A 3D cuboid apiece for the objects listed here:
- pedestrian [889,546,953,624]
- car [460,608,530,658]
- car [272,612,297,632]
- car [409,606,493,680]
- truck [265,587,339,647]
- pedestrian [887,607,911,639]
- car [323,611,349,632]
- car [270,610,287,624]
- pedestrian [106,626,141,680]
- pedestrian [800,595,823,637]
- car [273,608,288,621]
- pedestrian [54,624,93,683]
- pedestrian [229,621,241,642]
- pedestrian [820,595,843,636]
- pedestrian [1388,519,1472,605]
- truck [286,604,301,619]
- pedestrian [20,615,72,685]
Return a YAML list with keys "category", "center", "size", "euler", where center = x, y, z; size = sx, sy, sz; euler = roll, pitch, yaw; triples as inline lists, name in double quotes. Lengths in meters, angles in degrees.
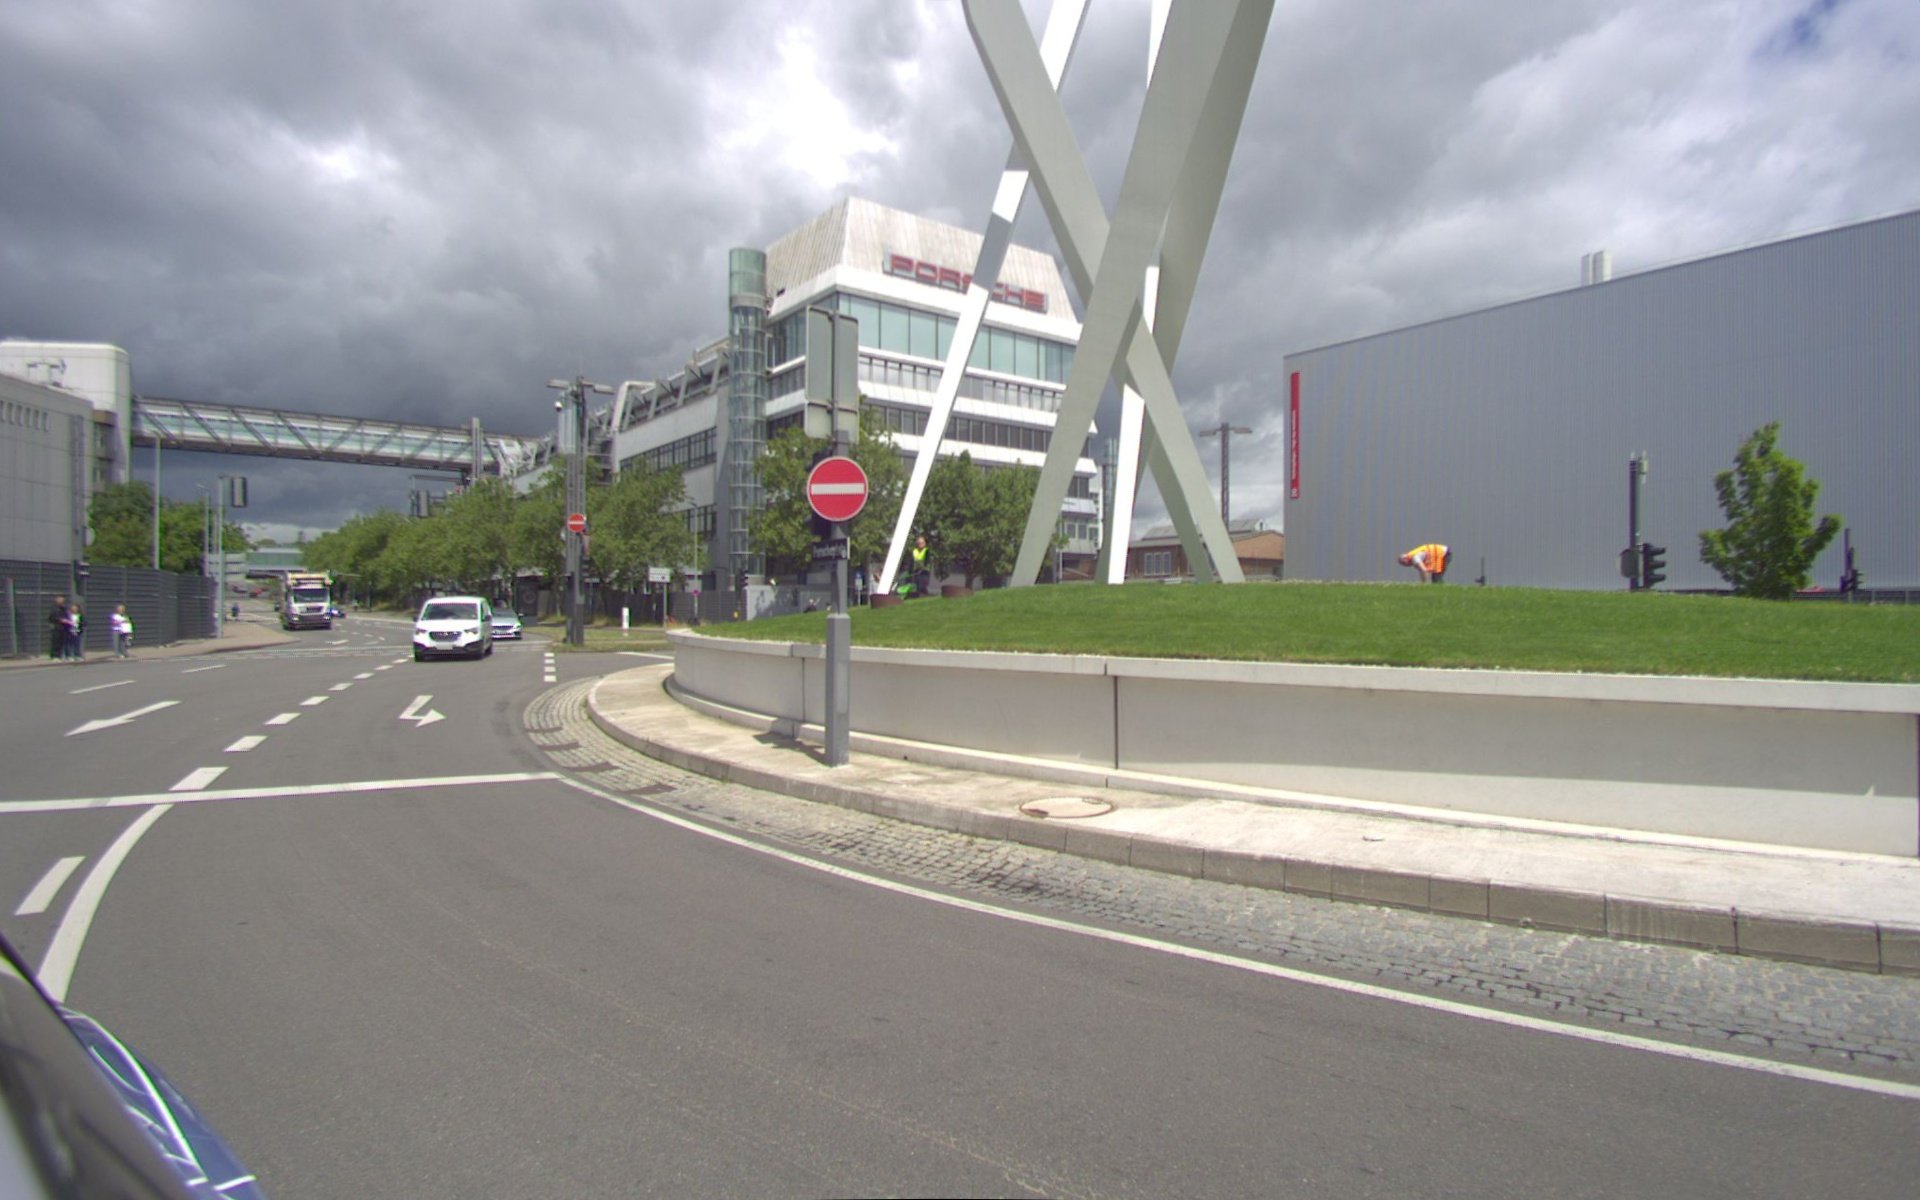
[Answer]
- category: "pedestrian"
  center: [-0.956, -0.344, 24.875]
  size: [0.984, 1.831, 1.270]
  euler: [-1, -2, 36]
- category: "car"
  center: [-20.708, 1.419, 44.972]
  size: [1.843, 1.970, 4.722]
  euler: [-2, 2, -37]
- category: "car"
  center: [-72.409, 2.326, 108.441]
  size: [1.843, 1.970, 4.722]
  euler: [-2, 2, -37]
- category: "car"
  center: [-15.178, 1.232, 30.353]
  size: [1.794, 2.029, 4.405]
  euler: [-1, -1, -21]
- category: "truck"
  center: [-46.060, 1.120, 70.645]
  size: [2.673, 3.915, 10.754]
  euler: [-1, 0, -42]
- category: "pedestrian"
  center: [-3.487, 1.285, 57.804]
  size: [1.034, 1.787, 0.855]
  euler: [-1, 1, 38]
- category: "car"
  center: [-66.076, 2.232, 107.080]
  size: [1.843, 1.970, 4.722]
  euler: [-2, 2, -37]
- category: "car"
  center: [-102.974, 2.564, 152.910]
  size: [1.843, 1.970, 4.722]
  euler: [-2, 2, -37]
- category: "pedestrian"
  center: [-25.936, 1.629, 31.390]
  size: [0.650, 1.620, 0.825]
  euler: [-1, 1, -27]
- category: "pedestrian"
  center: [-7.548, 0.812, 51.365]
  size: [0.939, 2.070, 0.954]
  euler: [-1, 1, -19]
- category: "car"
  center: [-116.859, 2.453, 174.061]
  size: [1.843, 1.970, 4.722]
  euler: [-2, 2, -37]
- category: "pedestrian"
  center: [-25.063, 1.493, 28.618]
  size: [0.460, 1.628, 0.660]
  euler: [-1, 1, 13]
- category: "pedestrian"
  center: [-61.582, 2.705, 85.951]
  size: [0.785, 1.733, 0.733]
  euler: [-1, 1, -42]
- category: "pedestrian"
  center: [-6.647, 0.771, 52.340]
  size: [0.939, 2.070, 0.954]
  euler: [-1, 1, -19]
- category: "pedestrian"
  center: [8.432, -0.663, 18.177]
  size: [0.841, 1.417, 0.968]
  euler: [6, -1, -16]
- category: "truck"
  center: [-142.895, 2.498, 217.042]
  size: [2.420, 3.152, 7.261]
  euler: [-1, 1, -35]
- category: "pedestrian"
  center: [-25.171, 1.360, 27.878]
  size: [0.655, 1.880, 0.790]
  euler: [-1, 1, 14]
